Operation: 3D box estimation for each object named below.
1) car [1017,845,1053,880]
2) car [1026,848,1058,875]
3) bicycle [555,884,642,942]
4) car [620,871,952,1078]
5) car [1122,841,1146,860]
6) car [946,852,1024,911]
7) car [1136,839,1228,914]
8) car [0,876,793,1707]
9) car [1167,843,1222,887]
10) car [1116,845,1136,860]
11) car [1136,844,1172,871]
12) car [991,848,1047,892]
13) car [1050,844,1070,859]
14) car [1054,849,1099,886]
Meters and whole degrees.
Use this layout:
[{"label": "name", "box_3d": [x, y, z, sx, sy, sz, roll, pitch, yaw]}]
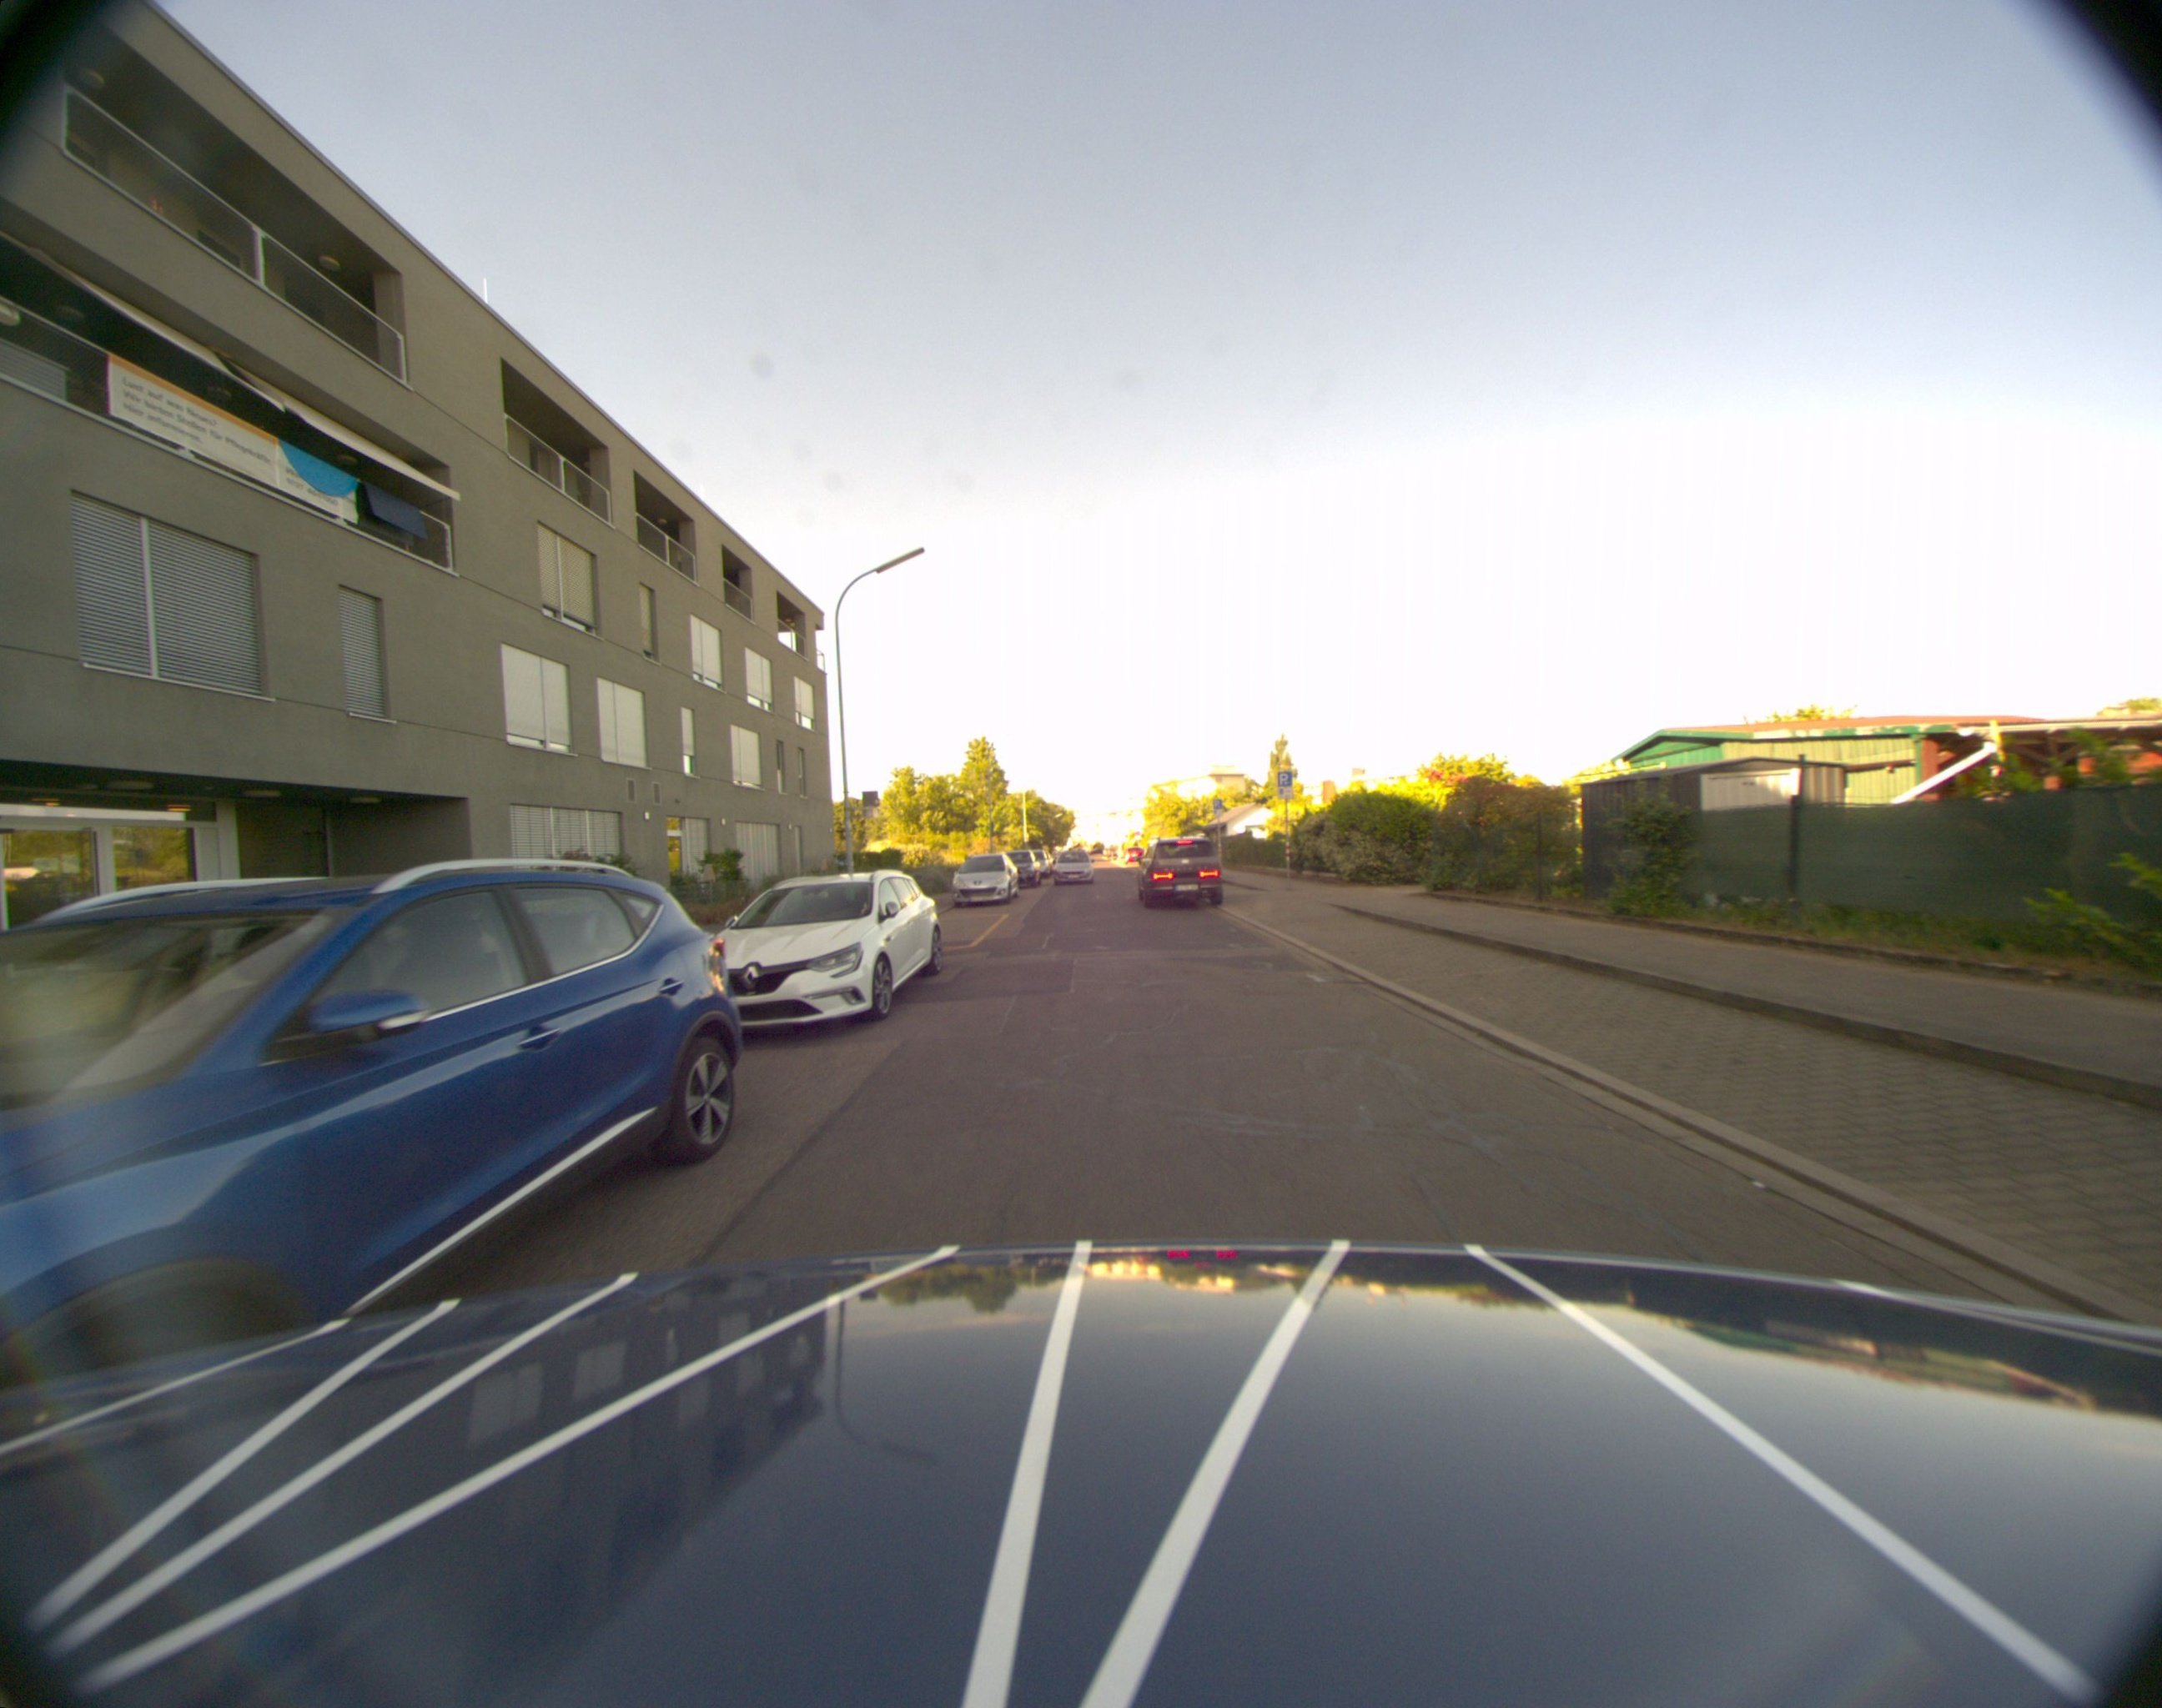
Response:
[{"label": "car", "box_3d": [-2.557, 0.434, 43.123, 1.711, 1.696, 4.348, -5, 1, -1]}, {"label": "car", "box_3d": [-2.421, 0.434, 47.892, 1.711, 1.517, 3.092, -5, 1, 1]}, {"label": "bicycle", "box_3d": [-10.430, 1.254, 16.503, 0.553, 1.055, 1.842, -3, 1, 4]}, {"label": "car", "box_3d": [-2.798, 1.038, 8.498, 1.749, 1.421, 4.585, -4, 1, 1]}, {"label": "car", "box_3d": [4.464, -0.318, 64.763, 1.700, 1.421, 4.385, -2, 1, 0]}, {"label": "car", "box_3d": [-2.883, 0.764, 23.648, 1.711, 1.517, 4.154, -4, 1, 1]}, {"label": "car", "box_3d": [2.518, 0.495, 20.083, 1.947, 1.717, 4.838, -1, 1, 2]}, {"label": "car", "box_3d": [-2.836, 1.029, 2.637, 1.821, 1.590, 4.626, -4, 1, -1]}, {"label": "car", "box_3d": [4.232, 0.368, 28.800, 1.531, 1.479, 3.401, -3, 1, 0]}, {"label": "car", "box_3d": [4.399, -0.203, 74.702, 1.700, 1.361, 3.910, -2, 1, 0]}, {"label": "car", "box_3d": [4.443, 0.175, 46.654, 1.700, 1.415, 4.516, -5, 1, 0]}, {"label": "car", "box_3d": [-2.577, 0.621, 32.680, 1.749, 1.558, 4.803, -4, 1, 2]}, {"label": "car", "box_3d": [-2.253, -0.250, 83.418, 1.873, 1.517, 4.154, -3, 1, 1]}, {"label": "car", "box_3d": [-0.251, 0.551, 33.760, 1.679, 1.440, 3.998, -3, 1, -4]}]
